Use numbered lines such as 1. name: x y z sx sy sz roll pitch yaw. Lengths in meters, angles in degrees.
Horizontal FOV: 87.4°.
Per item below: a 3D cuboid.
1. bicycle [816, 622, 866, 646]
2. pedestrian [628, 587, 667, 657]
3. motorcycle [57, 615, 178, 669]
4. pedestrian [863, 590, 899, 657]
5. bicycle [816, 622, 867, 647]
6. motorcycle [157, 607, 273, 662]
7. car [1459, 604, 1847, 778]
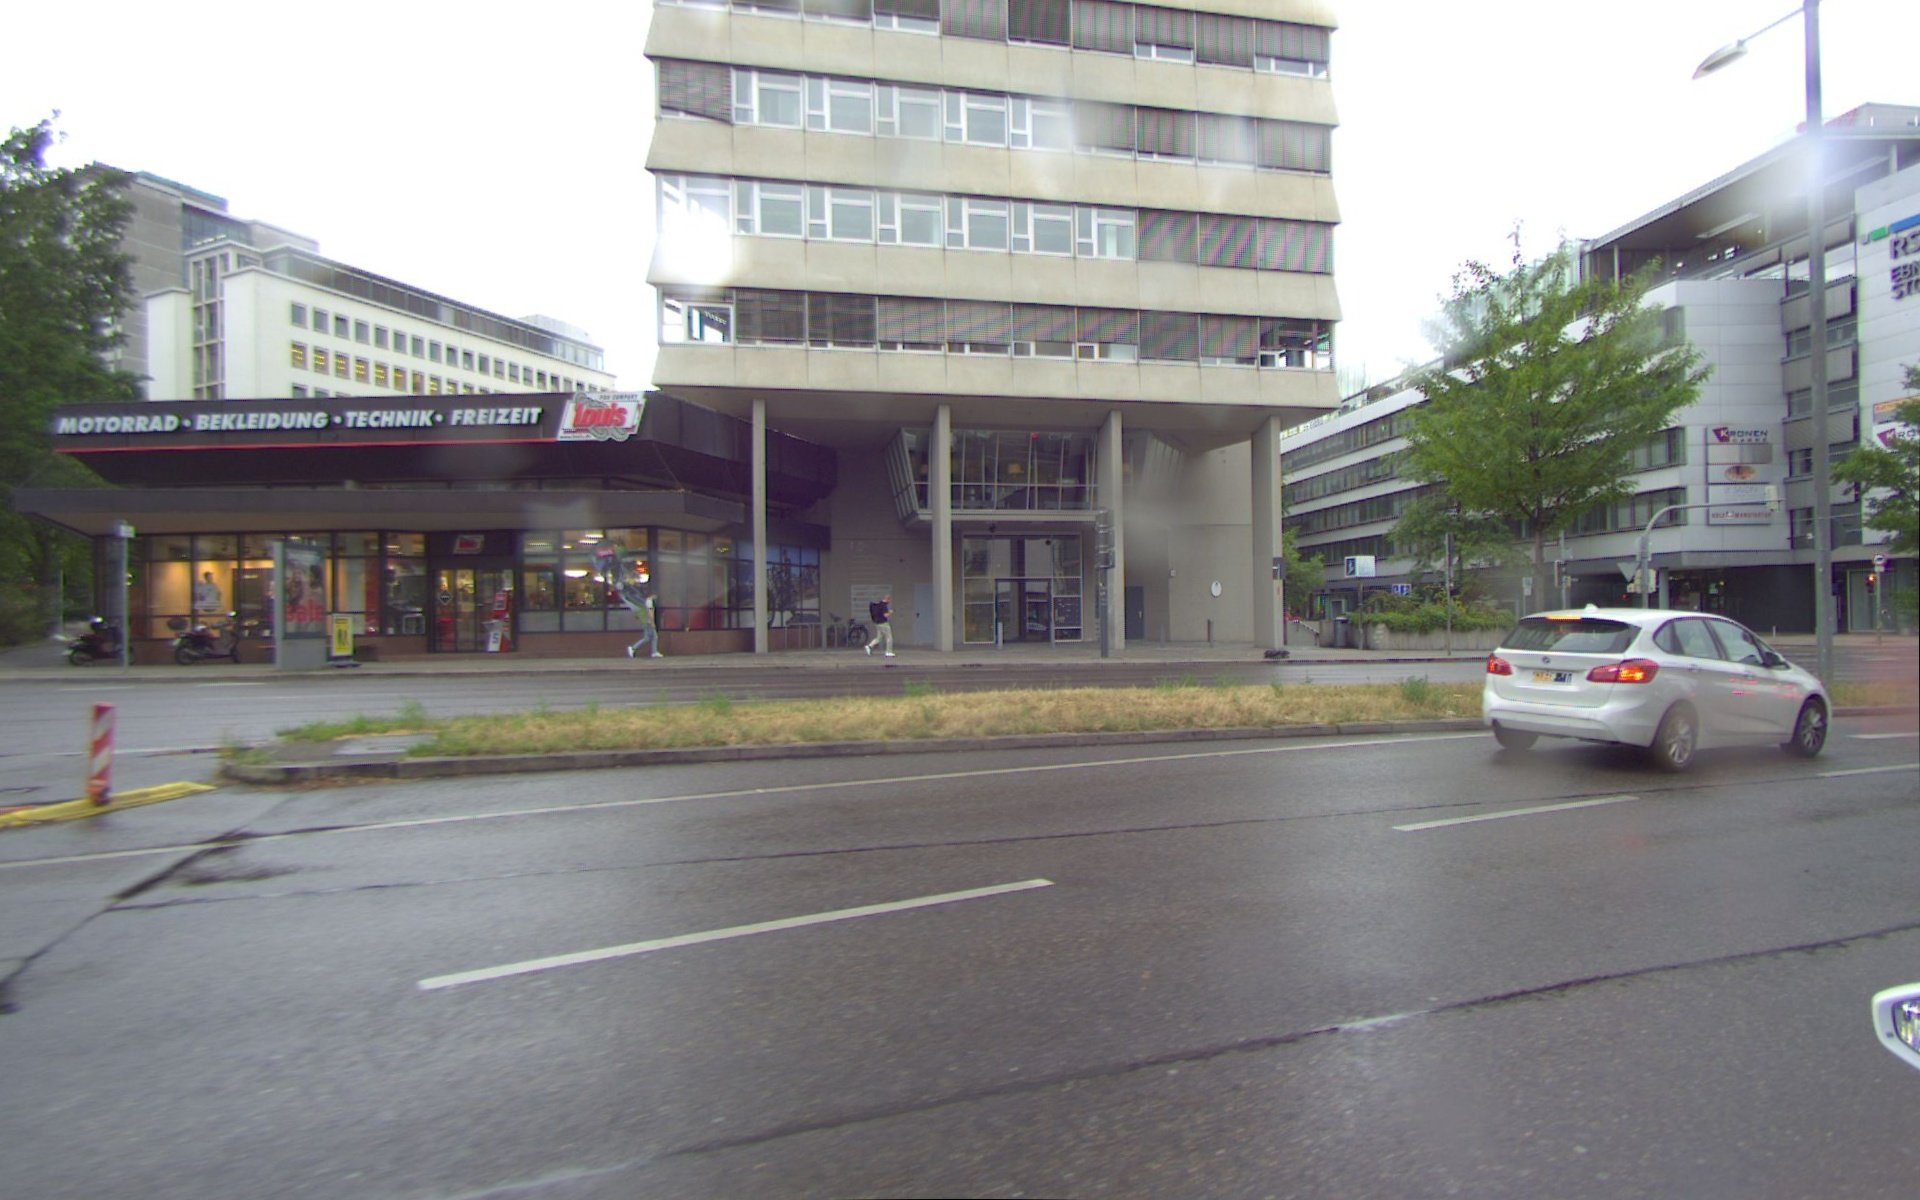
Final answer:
1. bicycle: -4.304 1.228 36.222 1.742 0.823 0.454 1 0 -11
2. pedestrian: -8.431 0.580 27.126 0.909 1.857 0.818 0 0 -12
3. motorcycle: -22.888 1.107 27.375 0.709 1.351 2.822 1 0 5
4. pedestrian: -2.249 0.667 28.563 0.909 1.857 0.728 1 -1 -13
5. bicycle: -4.205 1.226 35.640 1.742 0.823 0.454 1 0 -11
6. motorcycle: -19.955 0.893 27.023 0.788 1.392 2.894 1 0 4
7. car: 7.625 0.864 10.991 4.234 1.594 1.776 1 -1 -28
